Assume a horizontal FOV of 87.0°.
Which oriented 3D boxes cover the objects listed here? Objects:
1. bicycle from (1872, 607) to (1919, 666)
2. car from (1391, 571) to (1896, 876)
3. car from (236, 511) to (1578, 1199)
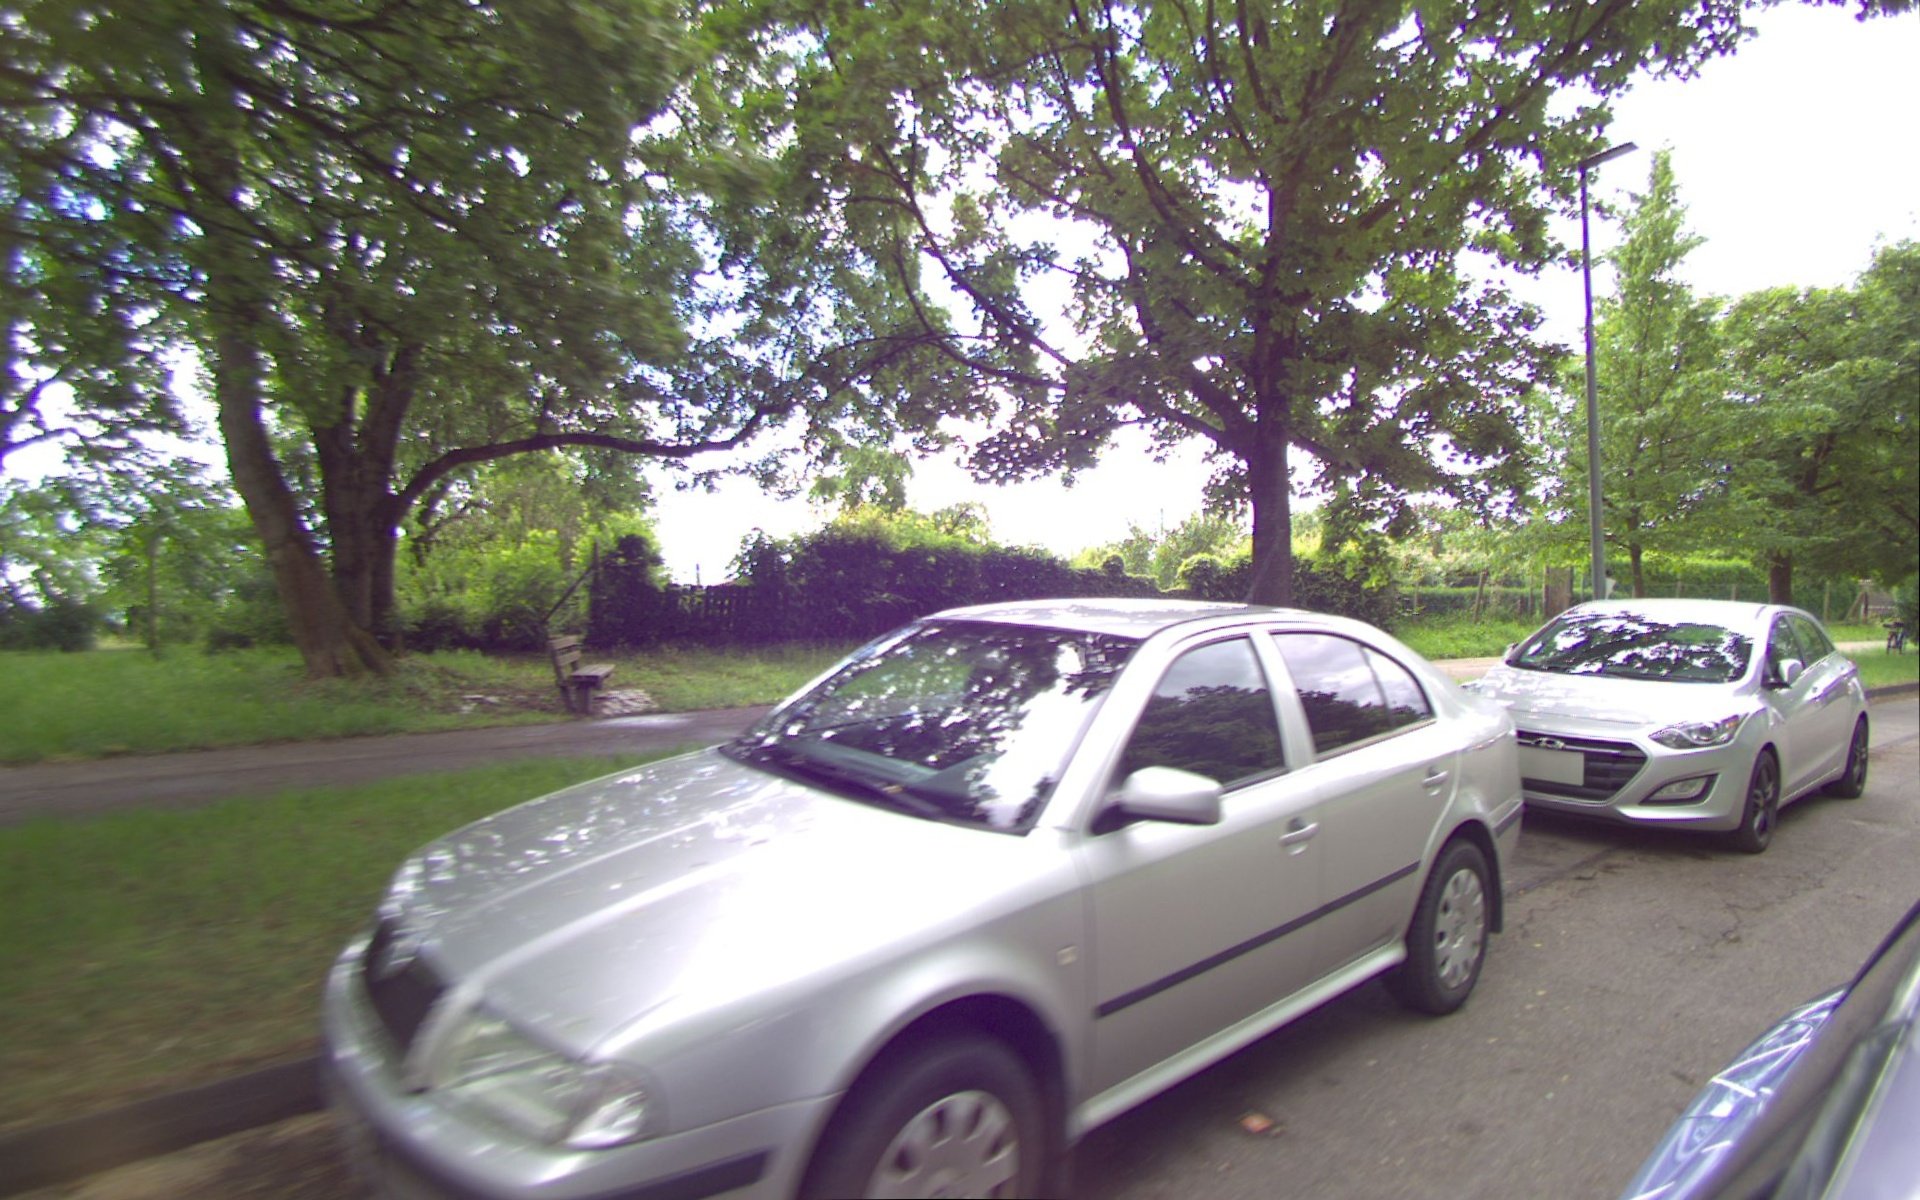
[{"bbox_3d":[21.798,0.815,23.340,2.142,1.230,0.536,-3,0,-32],"label":"bicycle"},{"bbox_3d":[5.031,0.621,7.257,3.987,1.495,1.906,-3,0,-39],"label":"car"},{"bbox_3d":[0.393,0.616,3.490,4.556,1.544,1.744,-1,1,-42],"label":"car"}]
